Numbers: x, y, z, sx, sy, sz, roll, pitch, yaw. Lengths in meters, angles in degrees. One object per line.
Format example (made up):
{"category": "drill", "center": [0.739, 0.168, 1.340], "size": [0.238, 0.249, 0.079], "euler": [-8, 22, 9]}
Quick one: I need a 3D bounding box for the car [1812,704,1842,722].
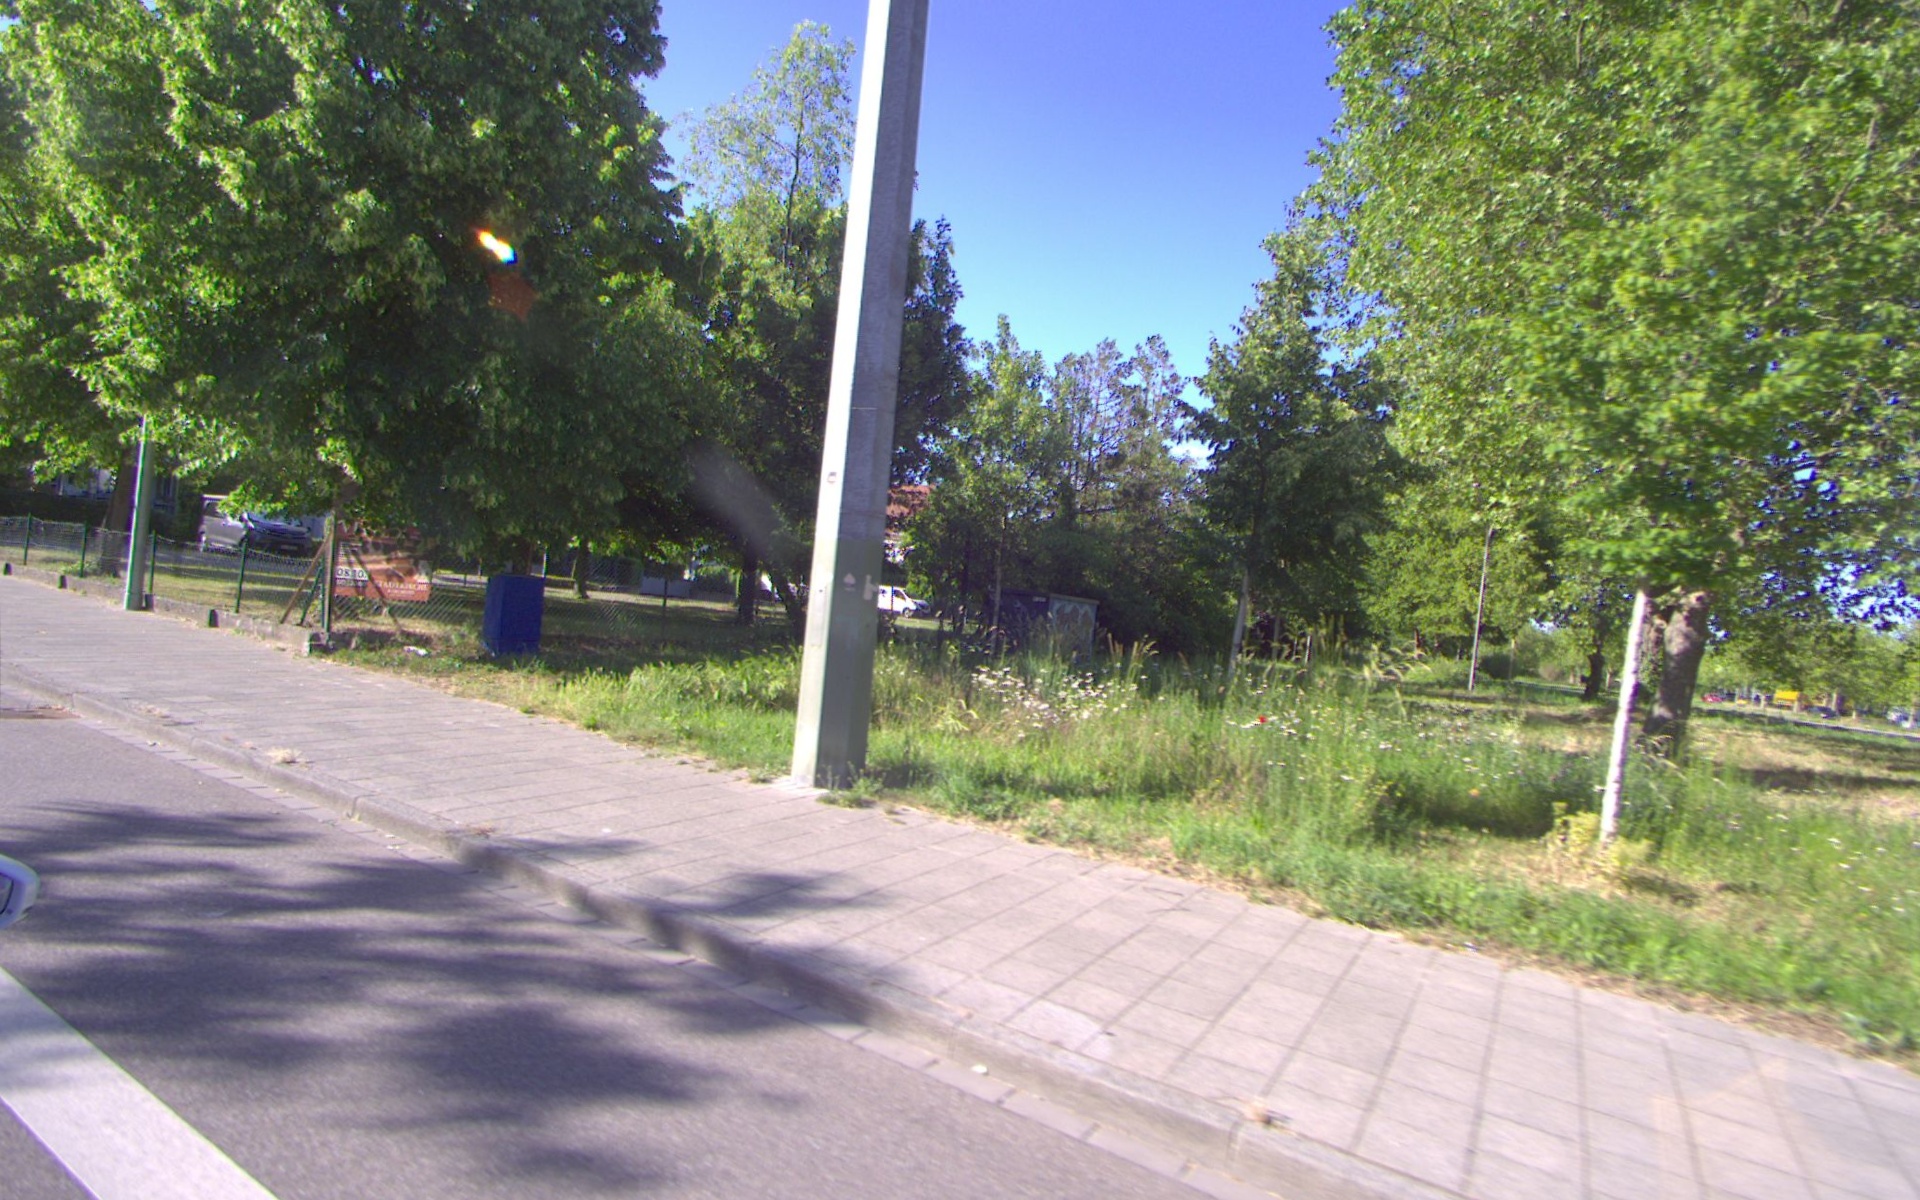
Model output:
{"category": "car", "center": [92.126, 12.017, 106.959], "size": [1.935, 1.550, 3.986], "euler": [6, 0, 36]}

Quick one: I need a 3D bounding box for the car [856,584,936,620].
{"category": "car", "center": [-4.386, 0.125, 68.378], "size": [5.189, 1.890, 1.874], "euler": [6, -1, 32]}

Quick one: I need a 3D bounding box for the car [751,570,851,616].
{"category": "car", "center": [-9.441, -0.411, 59.482], "size": [5.775, 2.064, 2.020], "euler": [6, -1, 32]}

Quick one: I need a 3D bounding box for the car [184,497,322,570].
{"category": "car", "center": [-24.059, -2.284, 34.172], "size": [5.082, 1.990, 1.874], "euler": [6, -1, 32]}
